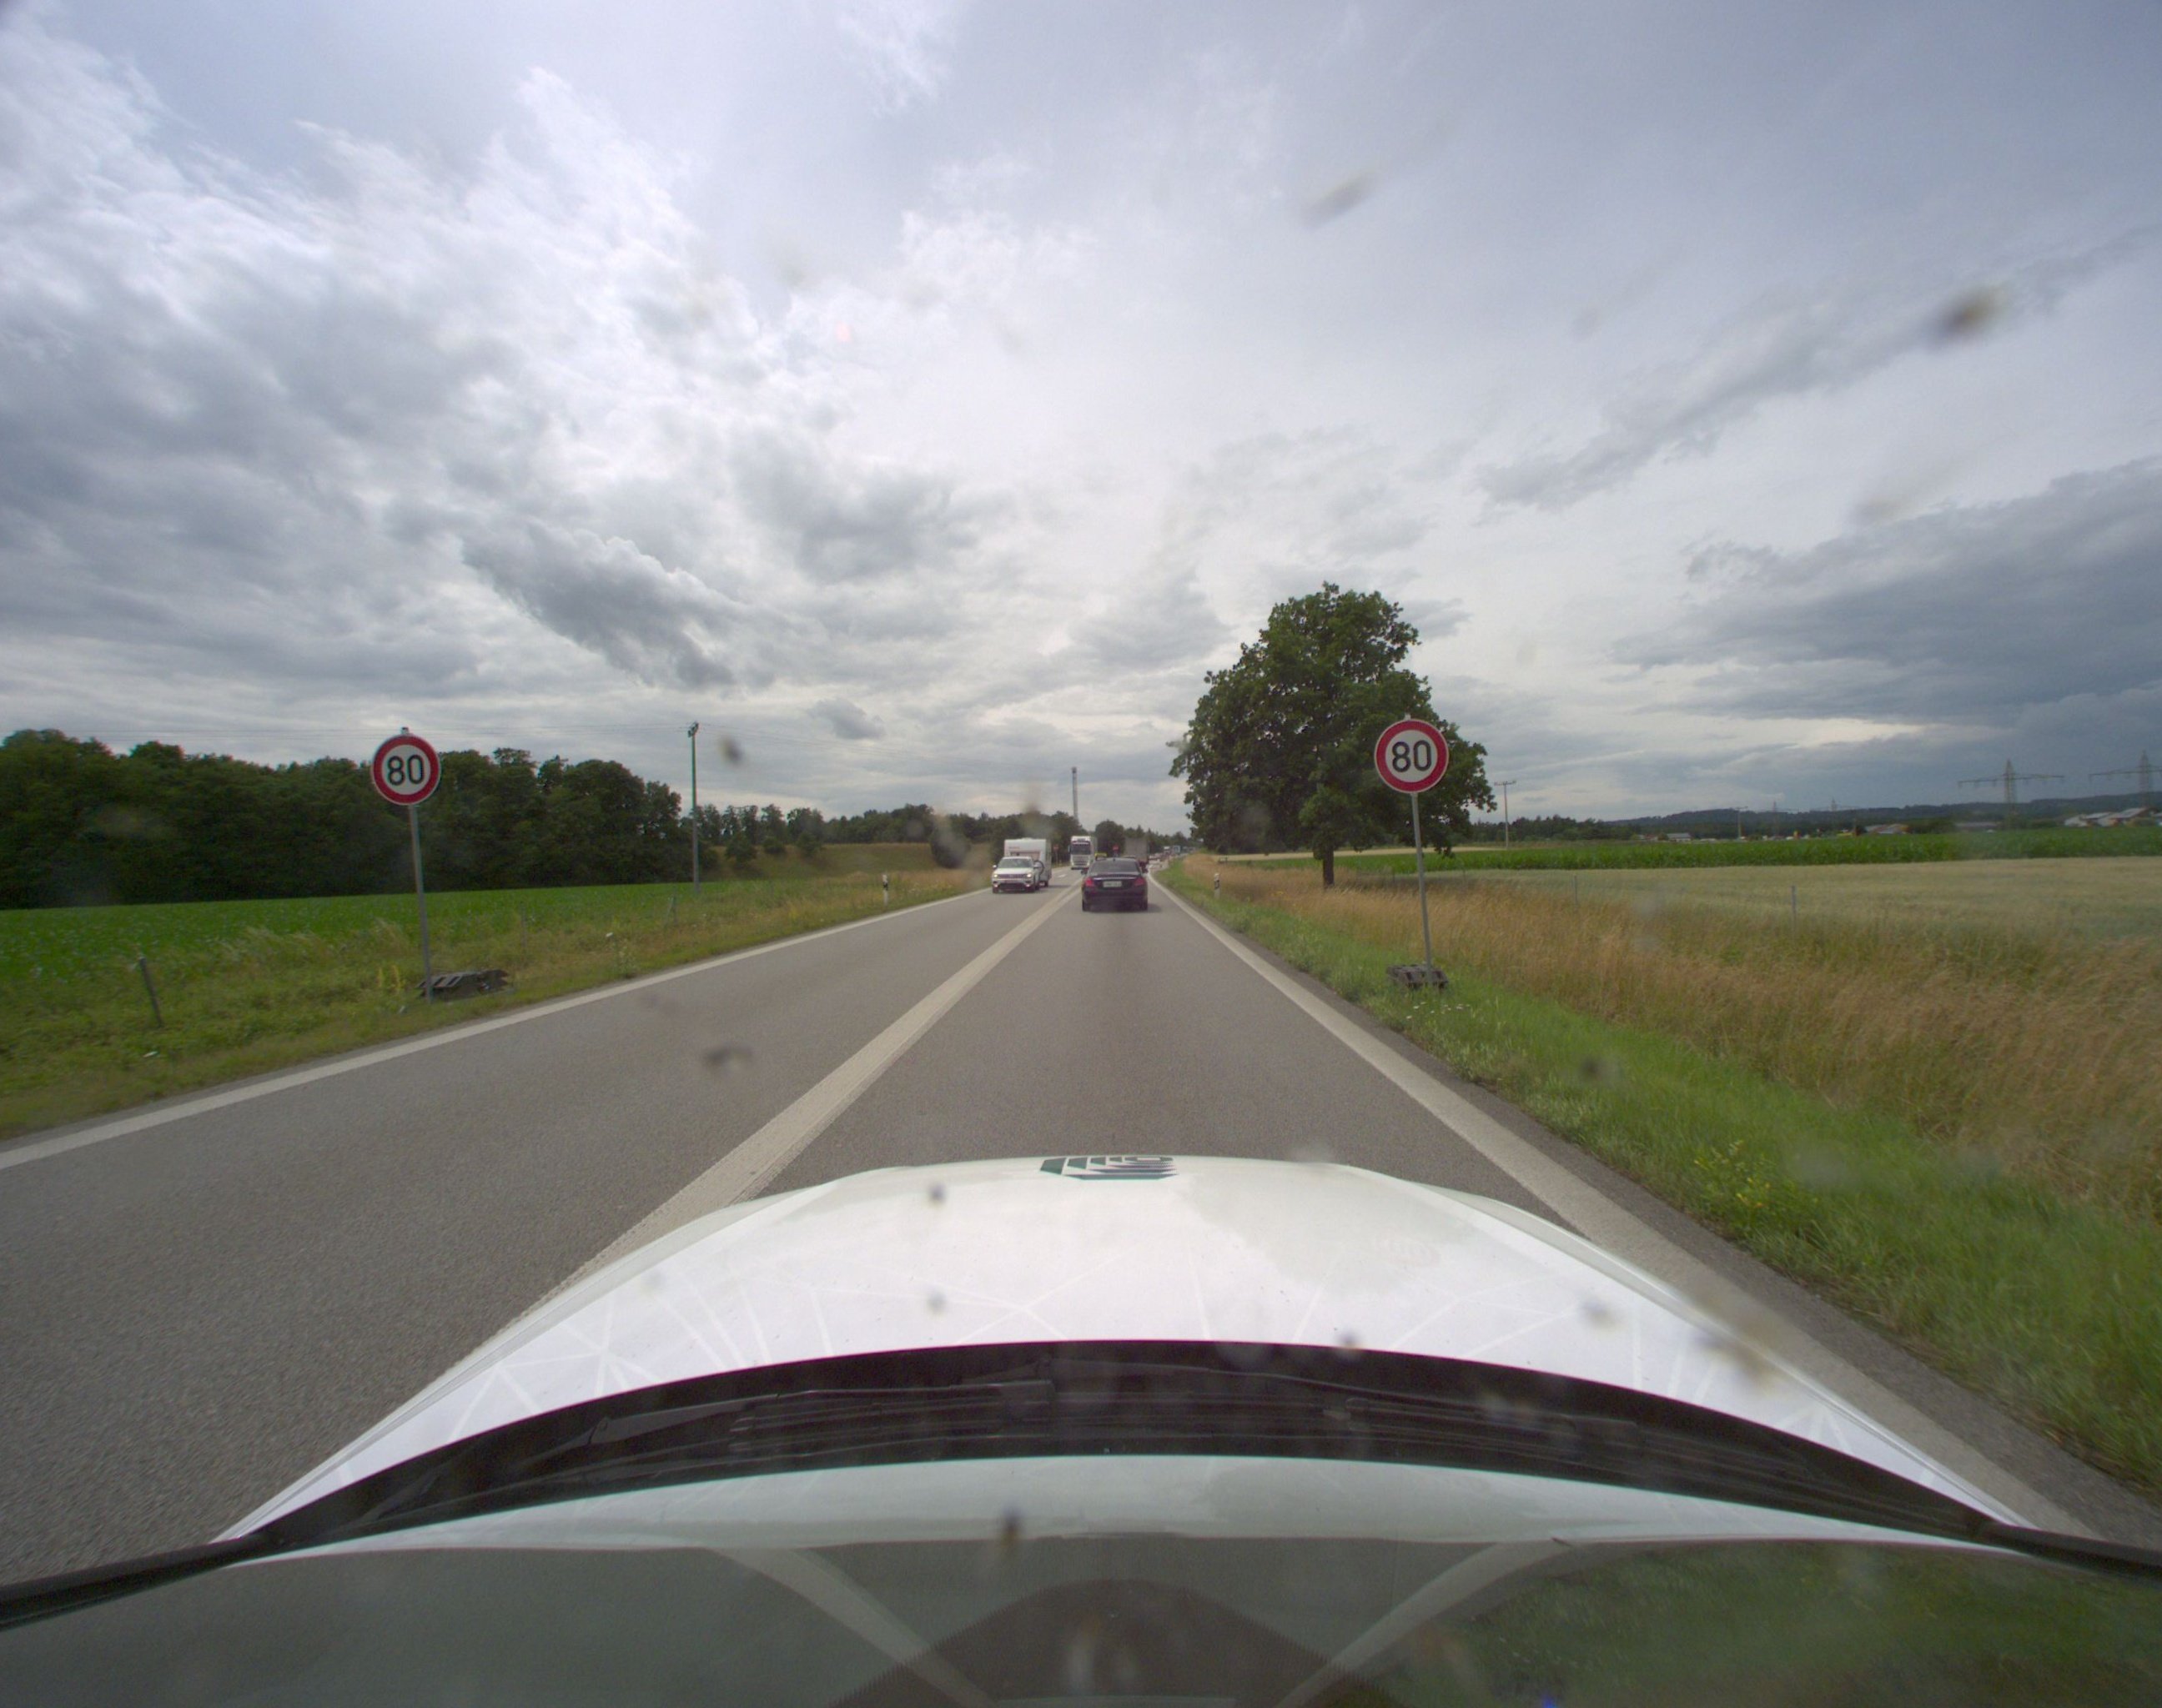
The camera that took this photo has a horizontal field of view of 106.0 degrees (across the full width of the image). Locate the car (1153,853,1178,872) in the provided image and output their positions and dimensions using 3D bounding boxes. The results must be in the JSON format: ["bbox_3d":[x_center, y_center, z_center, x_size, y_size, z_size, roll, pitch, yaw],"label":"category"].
[{"bbox_3d":[7.628,0.780,74.080,1.790,1.662,3.998,0,-1,-1],"label":"car"}]

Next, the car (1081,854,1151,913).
[{"bbox_3d":[0.922,0.807,23.546,1.790,1.560,3.998,0,-1,-1],"label":"car"}]

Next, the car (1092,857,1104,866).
[{"bbox_3d":[2.959,1.309,139.331,1.849,1.479,5.202,0,-1,4],"label":"car"}]

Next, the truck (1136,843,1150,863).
[{"bbox_3d":[10.824,-0.105,142.739,1.988,3.526,4.589,0,-1,-1],"label":"truck"}]

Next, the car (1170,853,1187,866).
[{"bbox_3d":[12.869,0.796,107.767,1.790,1.662,3.998,0,-1,-1],"label":"car"}]

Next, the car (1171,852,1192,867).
[{"bbox_3d":[11.486,0.598,93.312,1.790,1.662,3.998,0,-1,-1],"label":"car"}]

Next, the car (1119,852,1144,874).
[{"bbox_3d":[4.586,0.829,75.163,1.988,2.014,3.998,0,-1,-1],"label":"car"}]

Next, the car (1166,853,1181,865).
[{"bbox_3d":[13.839,0.777,121.760,1.790,1.662,3.998,0,-1,-1],"label":"car"}]

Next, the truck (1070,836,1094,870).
[{"bbox_3d":[0.139,-0.110,97.446,2.479,3.996,5.209,-1,0,3],"label":"truck"}]

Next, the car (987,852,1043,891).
[{"bbox_3d":[-2.919,0.785,36.832,1.998,1.657,4.329,0,-1,2],"label":"car"}]

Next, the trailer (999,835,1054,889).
[{"bbox_3d":[-2.712,0.431,42.183,2.173,2.575,6.246,0,-1,2],"label":"trailer"}]

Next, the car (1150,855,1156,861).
[{"bbox_3d":[18.694,1.015,211.500,1.642,1.396,3.709,0,-1,3],"label":"car"}]

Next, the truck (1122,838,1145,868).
[{"bbox_3d":[6.493,-0.080,100.048,2.573,3.524,4.821,0,-1,6],"label":"truck"}]

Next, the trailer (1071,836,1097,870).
[{"bbox_3d":[0.490,-0.123,103.940,2.479,3.996,13.087,-1,0,3],"label":"trailer"}]
